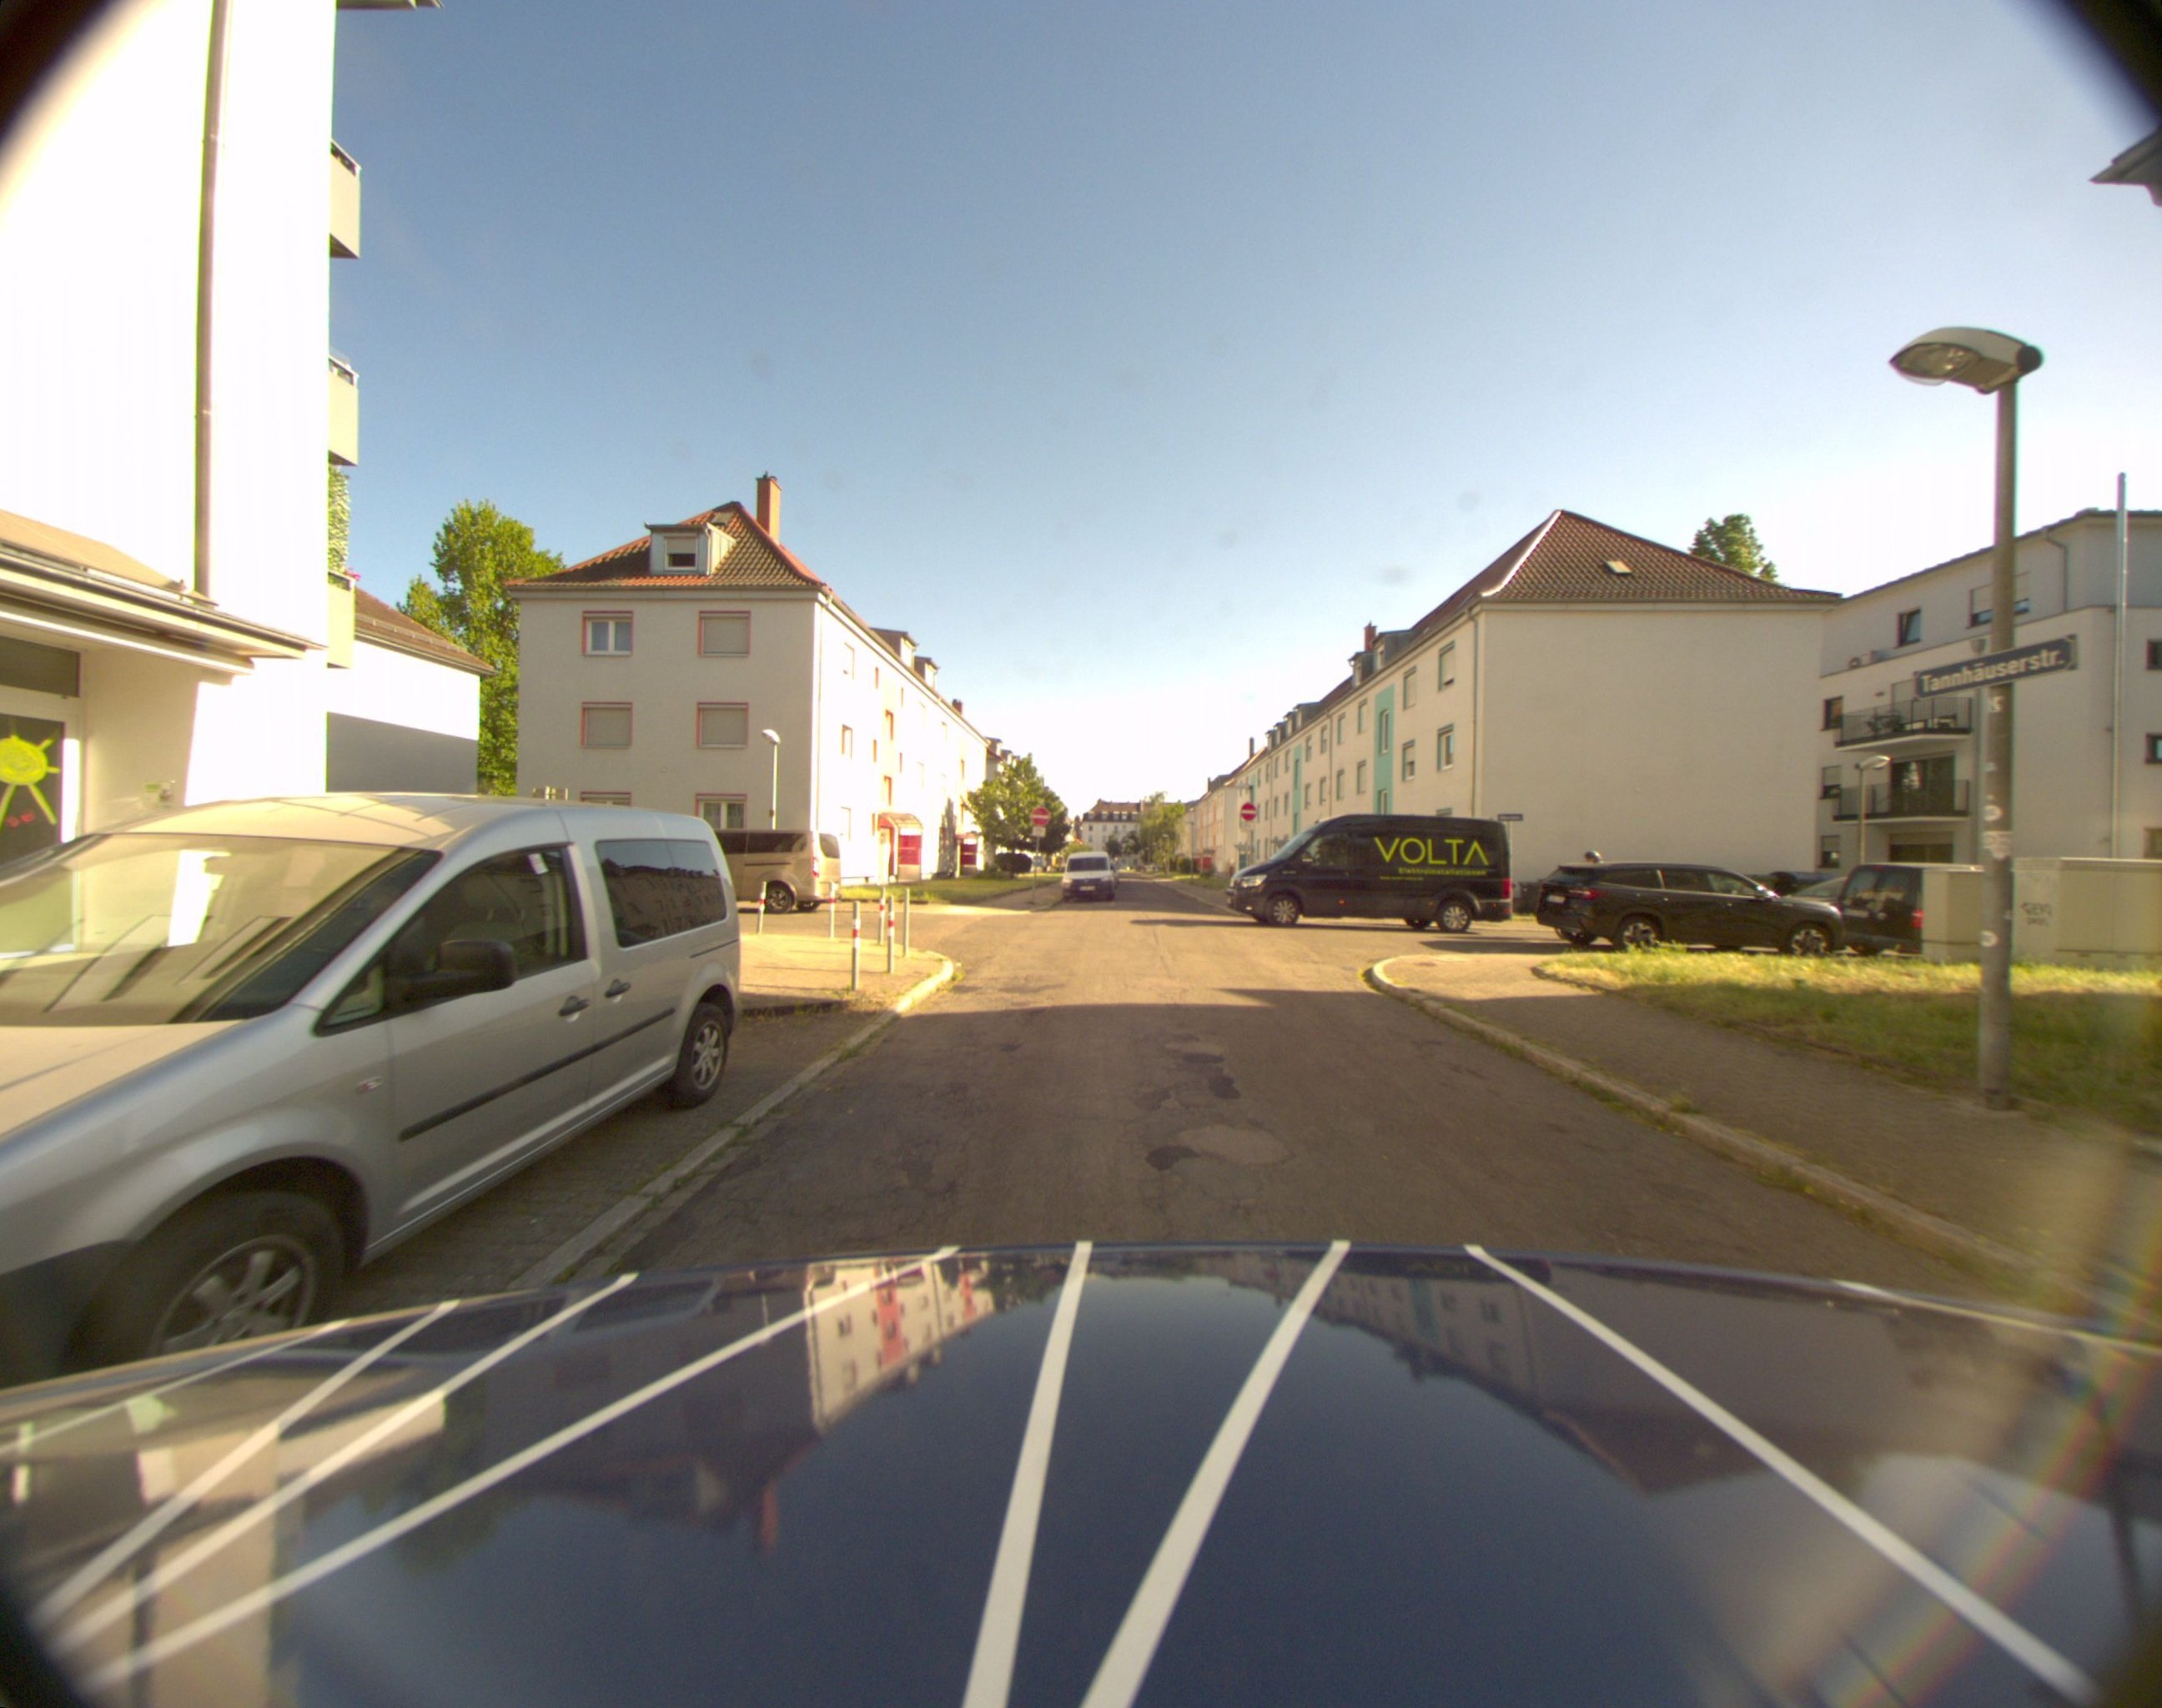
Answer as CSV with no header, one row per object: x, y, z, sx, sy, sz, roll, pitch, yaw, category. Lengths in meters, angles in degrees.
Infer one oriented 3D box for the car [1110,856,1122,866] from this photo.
5.451,1.082,118.721,1.708,1.562,4.736,1,1,4,car

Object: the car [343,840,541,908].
-15.651,0.467,18.726,3.482,1.521,1.680,1,1,2,car

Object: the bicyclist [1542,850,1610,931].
9.963,0.718,15.309,0.906,1.570,0.598,2,1,-3,bicyclist

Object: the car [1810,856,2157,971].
16.138,1.008,13.780,4.000,1.779,1.719,2,2,3,car

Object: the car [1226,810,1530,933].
6.398,0.355,16.923,5.955,2.530,2.000,1,0,2,car

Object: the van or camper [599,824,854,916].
-8.366,0.387,18.290,5.136,2.001,2.000,1,-1,0,van or camper

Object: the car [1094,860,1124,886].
1.577,1.086,43.847,1.632,1.441,3.953,1,-1,1,car

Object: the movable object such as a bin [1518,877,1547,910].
13.174,1.145,22.170,0.499,0.943,0.532,2,1,3,movable object such as a bin

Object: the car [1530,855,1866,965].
10.933,0.944,13.731,4.498,1.654,1.719,2,2,3,car

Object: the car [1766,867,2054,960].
17.794,1.230,16.489,3.996,1.685,1.866,3,0,3,car

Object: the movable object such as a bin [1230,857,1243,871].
15.914,1.005,77.598,1.166,1.385,0.878,1,0,3,movable object such as a bin

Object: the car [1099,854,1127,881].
2.162,0.899,52.393,1.780,1.709,4.307,-1,0,1,car

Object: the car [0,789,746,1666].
-3.107,0.730,3.014,1.751,1.813,4.130,2,0,-1,car

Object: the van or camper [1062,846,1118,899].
0.418,0.632,28.037,1.796,1.737,4.736,2,0,3,van or camper

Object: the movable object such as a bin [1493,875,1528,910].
12.446,1.118,22.043,0.614,0.986,0.715,1,0,2,movable object such as a bin

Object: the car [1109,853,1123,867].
5.197,0.879,113.071,1.953,1.889,4.765,1,1,4,car

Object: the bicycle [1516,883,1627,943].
9.856,1.171,15.310,1.815,1.109,0.629,2,1,-3,bicycle
